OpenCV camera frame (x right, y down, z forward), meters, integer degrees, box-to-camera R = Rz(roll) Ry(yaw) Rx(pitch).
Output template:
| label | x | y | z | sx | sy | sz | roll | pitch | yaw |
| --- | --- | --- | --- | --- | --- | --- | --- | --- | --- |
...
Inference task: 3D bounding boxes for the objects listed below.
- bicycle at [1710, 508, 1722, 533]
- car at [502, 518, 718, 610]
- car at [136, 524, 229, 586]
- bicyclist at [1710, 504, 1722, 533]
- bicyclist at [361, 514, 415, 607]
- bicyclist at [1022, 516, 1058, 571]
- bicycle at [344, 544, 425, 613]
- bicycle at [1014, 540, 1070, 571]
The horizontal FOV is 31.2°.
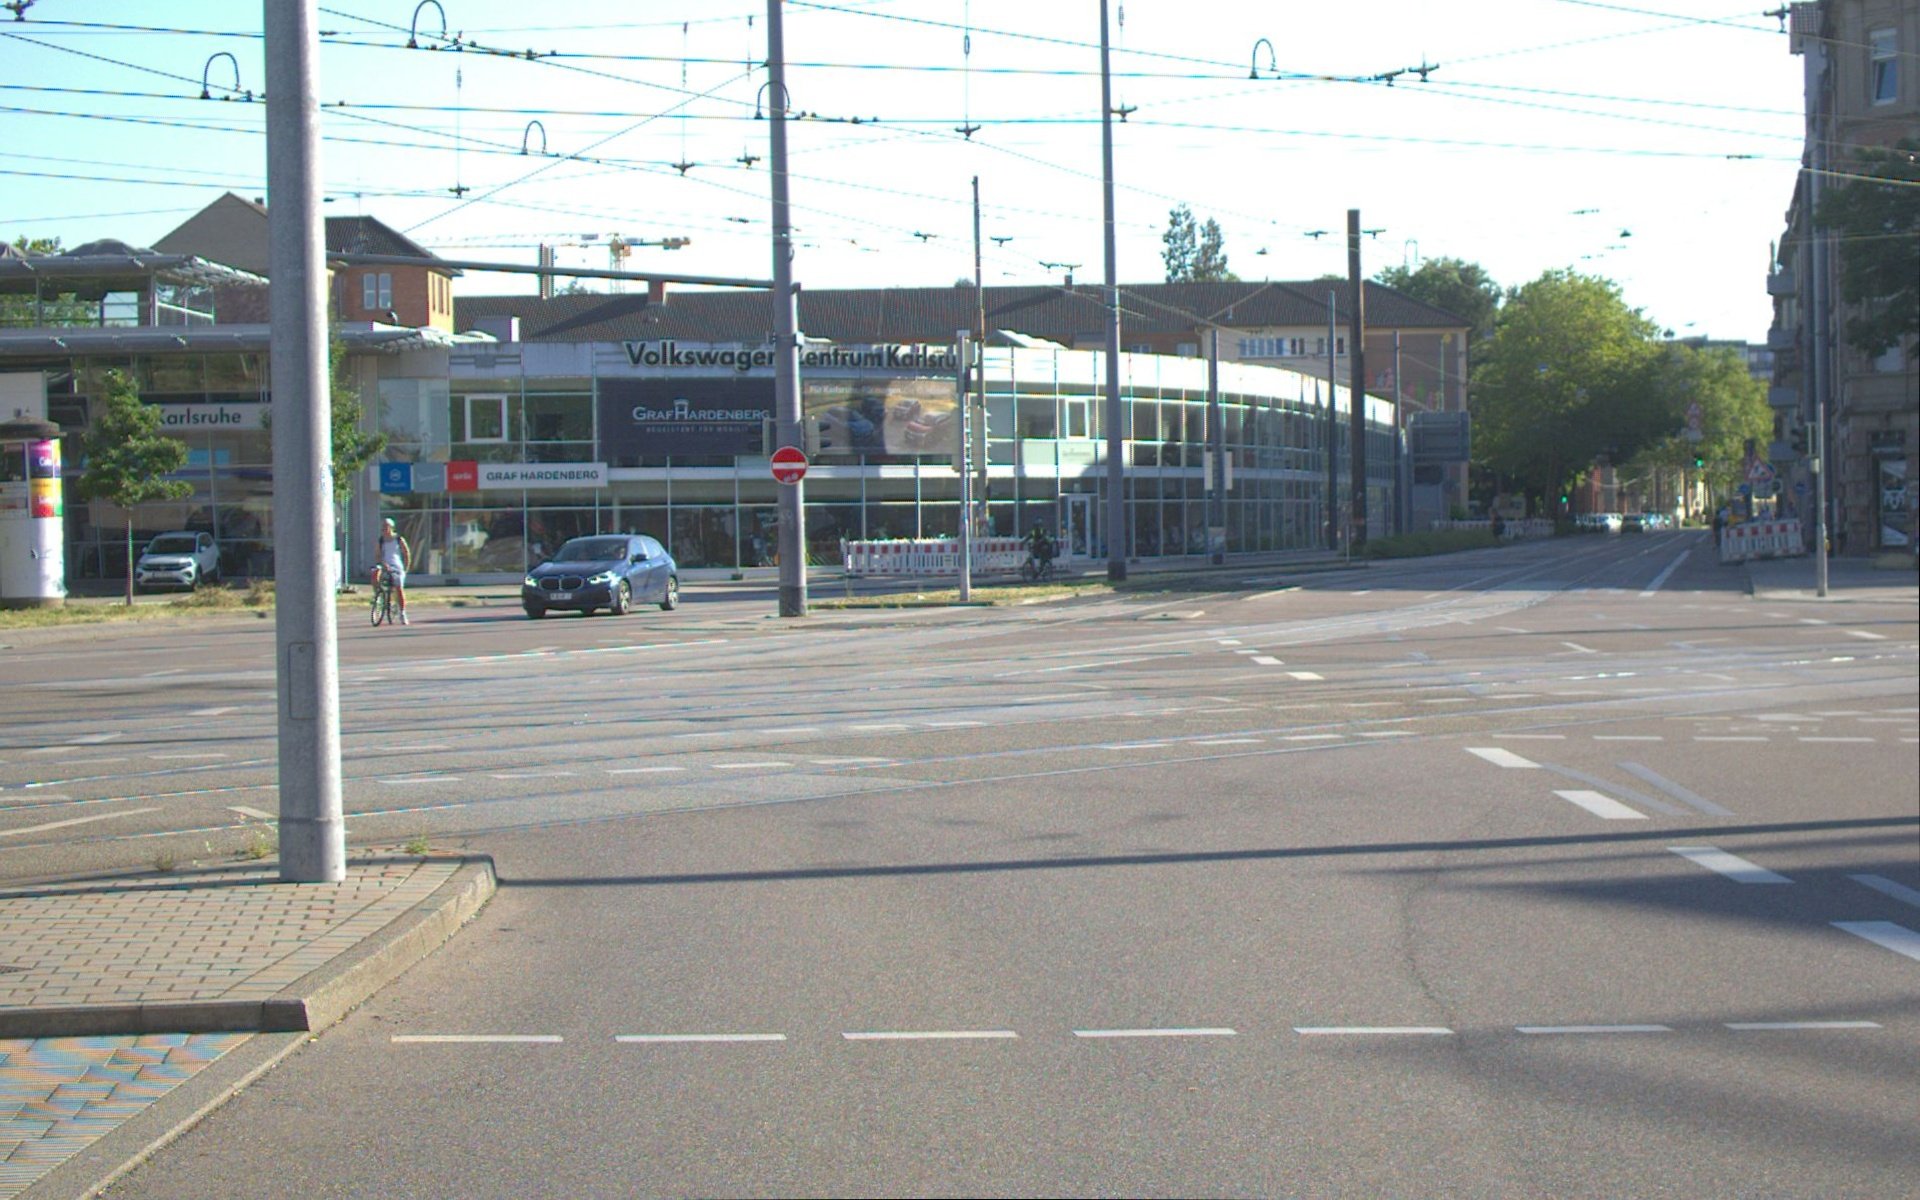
| label | x | y | z | sx | sy | sz | roll | pitch | yaw |
| --- | --- | --- | --- | --- | --- | --- | --- | --- | --- |
| bicycle | 29.033 | -3.041 | 132.001 | 0.410 | 0.938 | 1.844 | 1 | 1 | 12 |
| car | -6.244 | -0.635 | 61.745 | 1.996 | 1.579 | 3.994 | 1 | 1 | 27 |
| car | -22.455 | -1.291 | 99.377 | 1.993 | 1.744 | 4.001 | 1 | 1 | -4 |
| bicyclist | 29.027 | -3.138 | 131.994 | 0.408 | 1.112 | 0.399 | 1 | 0 | 11 |
| bicyclist | -9.960 | -0.686 | 59.866 | 0.598 | 1.610 | 0.822 | 1 | 0 | 17 |
| bicyclist | 2.306 | -1.628 | 99.310 | 0.655 | 1.567 | 0.921 | 1 | 0 | 29 |
| bicycle | -9.994 | -0.372 | 59.754 | 0.613 | 1.185 | 1.867 | 1 | 1 | 17 |
| bicycle | 2.369 | -1.270 | 99.429 | 0.639 | 0.867 | 2.231 | 1 | 1 | 29 |
